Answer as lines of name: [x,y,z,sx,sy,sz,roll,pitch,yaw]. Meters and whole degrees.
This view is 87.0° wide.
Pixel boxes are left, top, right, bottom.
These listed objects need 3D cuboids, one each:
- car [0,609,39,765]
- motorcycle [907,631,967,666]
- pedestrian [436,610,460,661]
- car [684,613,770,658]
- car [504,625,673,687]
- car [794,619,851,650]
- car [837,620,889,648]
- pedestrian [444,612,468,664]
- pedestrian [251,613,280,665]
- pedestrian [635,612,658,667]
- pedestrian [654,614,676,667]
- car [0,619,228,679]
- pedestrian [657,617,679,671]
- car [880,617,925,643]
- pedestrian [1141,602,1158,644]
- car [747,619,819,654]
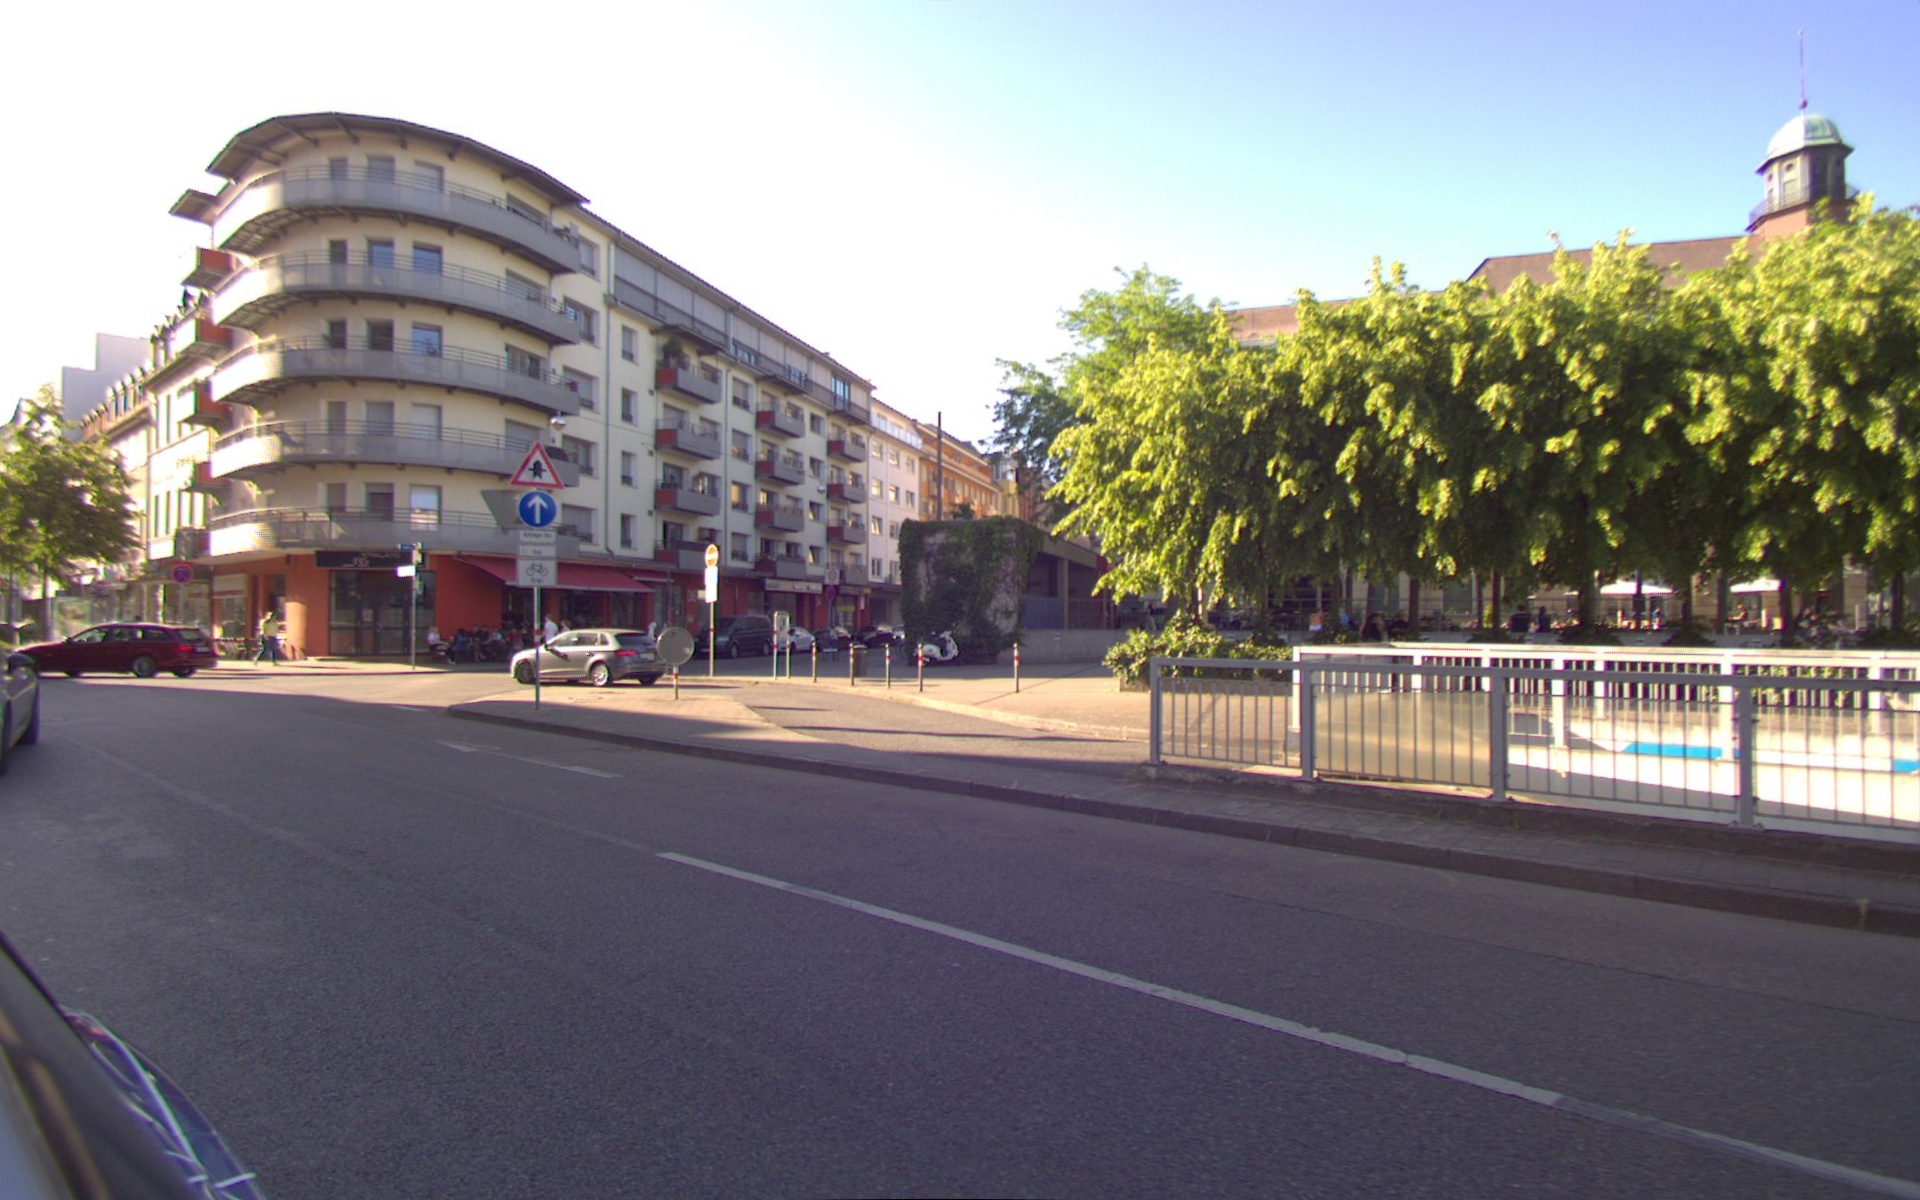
car: [-10.454,0.834,9.876,1.819,1.460,4.382,0,-1,-38]
motorcycle: [-0.774,1.615,34.110,1.898,1.110,0.684,0,-1,-26]
pedestrian: [-17.624,1.224,34.824,0.642,1.721,0.568,-2,-1,44]
car: [-10.626,1.596,46.560,1.939,1.927,4.402,-1,-1,17]
car: [-9.271,1.360,25.246,3.905,1.407,1.792,-1,-1,26]
car: [-7.764,1.930,57.565,1.776,1.633,3.913,-1,-1,17]
car: [-5.967,2.065,62.656,1.777,1.633,3.911,-1,-1,19]
pedestrian: [-17.100,1.287,34.343,0.642,1.721,0.568,-2,-1,44]
pedestrian: [-22.216,1.244,32.363,0.792,1.634,0.563,-1,-1,38]
pedestrian: [-10.445,1.319,33.746,0.574,1.806,0.602,-1,0,-4]
pedestrian: [-10.226,1.390,35.109,0.574,1.806,0.601,-1,0,1]
car: [-21.824,1.230,26.247,4.186,1.407,1.901,-1,-1,-11]
pedestrian: [-9.922,1.492,34.376,0.574,1.806,0.602,-1,0,-4]
car: [-3.835,1.967,67.876,1.776,1.633,3.913,-1,-1,17]
pedestrian: [8.291,0.990,44.279,0.578,1.806,0.597,-1,0,21]
car: [-9.008,1.844,51.907,1.939,1.633,4.272,-1,-1,17]
